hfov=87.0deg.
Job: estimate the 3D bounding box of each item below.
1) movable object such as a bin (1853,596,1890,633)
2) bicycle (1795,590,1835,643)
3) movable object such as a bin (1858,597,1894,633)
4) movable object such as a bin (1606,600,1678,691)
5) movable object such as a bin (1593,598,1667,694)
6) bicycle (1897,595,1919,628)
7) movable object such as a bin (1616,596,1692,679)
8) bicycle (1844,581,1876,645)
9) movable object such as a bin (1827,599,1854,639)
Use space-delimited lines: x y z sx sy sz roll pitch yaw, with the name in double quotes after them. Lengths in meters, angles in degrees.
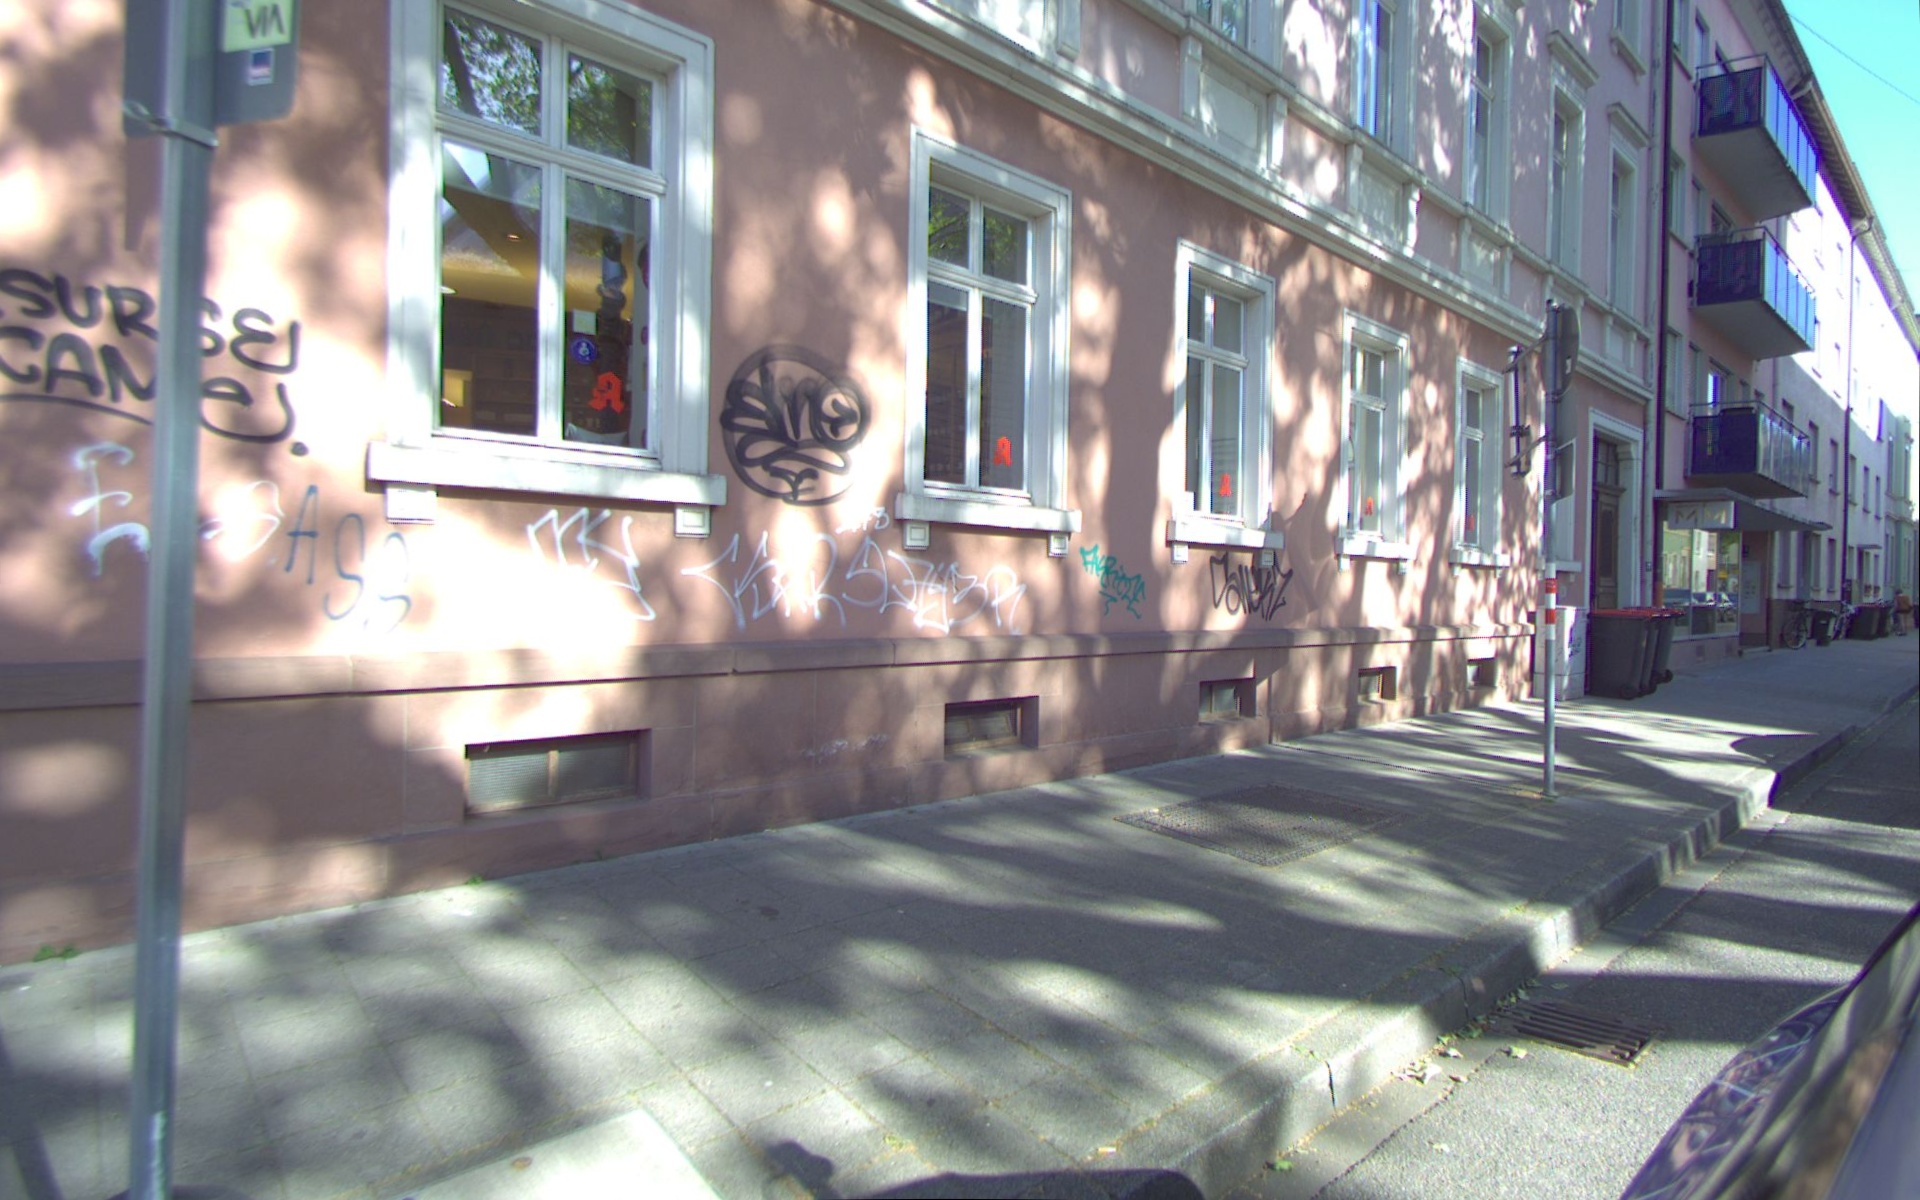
26.872 0.424 29.830 0.537 1.014 0.716 0 4 -43 "movable object such as a bin"
19.824 0.366 23.447 1.989 1.165 0.402 0 1 -41 "bicycle"
27.328 0.443 30.192 0.537 1.014 0.716 0 4 -43 "movable object such as a bin"
8.637 0.560 12.816 0.601 1.071 0.570 0 4 -43 "movable object such as a bin"
8.202 0.542 12.391 0.643 1.097 0.570 0 4 -43 "movable object such as a bin"
32.993 0.371 35.133 1.899 1.110 0.489 0 1 -41 "bicycle"
9.830 0.510 14.342 0.608 1.097 0.717 0 4 -43 "movable object such as a bin"
25.503 0.345 28.671 2.070 1.757 0.402 0 1 -41 "bicycle"
21.865 0.475 25.136 0.297 0.951 0.415 0 3 -43 "movable object such as a bin"
